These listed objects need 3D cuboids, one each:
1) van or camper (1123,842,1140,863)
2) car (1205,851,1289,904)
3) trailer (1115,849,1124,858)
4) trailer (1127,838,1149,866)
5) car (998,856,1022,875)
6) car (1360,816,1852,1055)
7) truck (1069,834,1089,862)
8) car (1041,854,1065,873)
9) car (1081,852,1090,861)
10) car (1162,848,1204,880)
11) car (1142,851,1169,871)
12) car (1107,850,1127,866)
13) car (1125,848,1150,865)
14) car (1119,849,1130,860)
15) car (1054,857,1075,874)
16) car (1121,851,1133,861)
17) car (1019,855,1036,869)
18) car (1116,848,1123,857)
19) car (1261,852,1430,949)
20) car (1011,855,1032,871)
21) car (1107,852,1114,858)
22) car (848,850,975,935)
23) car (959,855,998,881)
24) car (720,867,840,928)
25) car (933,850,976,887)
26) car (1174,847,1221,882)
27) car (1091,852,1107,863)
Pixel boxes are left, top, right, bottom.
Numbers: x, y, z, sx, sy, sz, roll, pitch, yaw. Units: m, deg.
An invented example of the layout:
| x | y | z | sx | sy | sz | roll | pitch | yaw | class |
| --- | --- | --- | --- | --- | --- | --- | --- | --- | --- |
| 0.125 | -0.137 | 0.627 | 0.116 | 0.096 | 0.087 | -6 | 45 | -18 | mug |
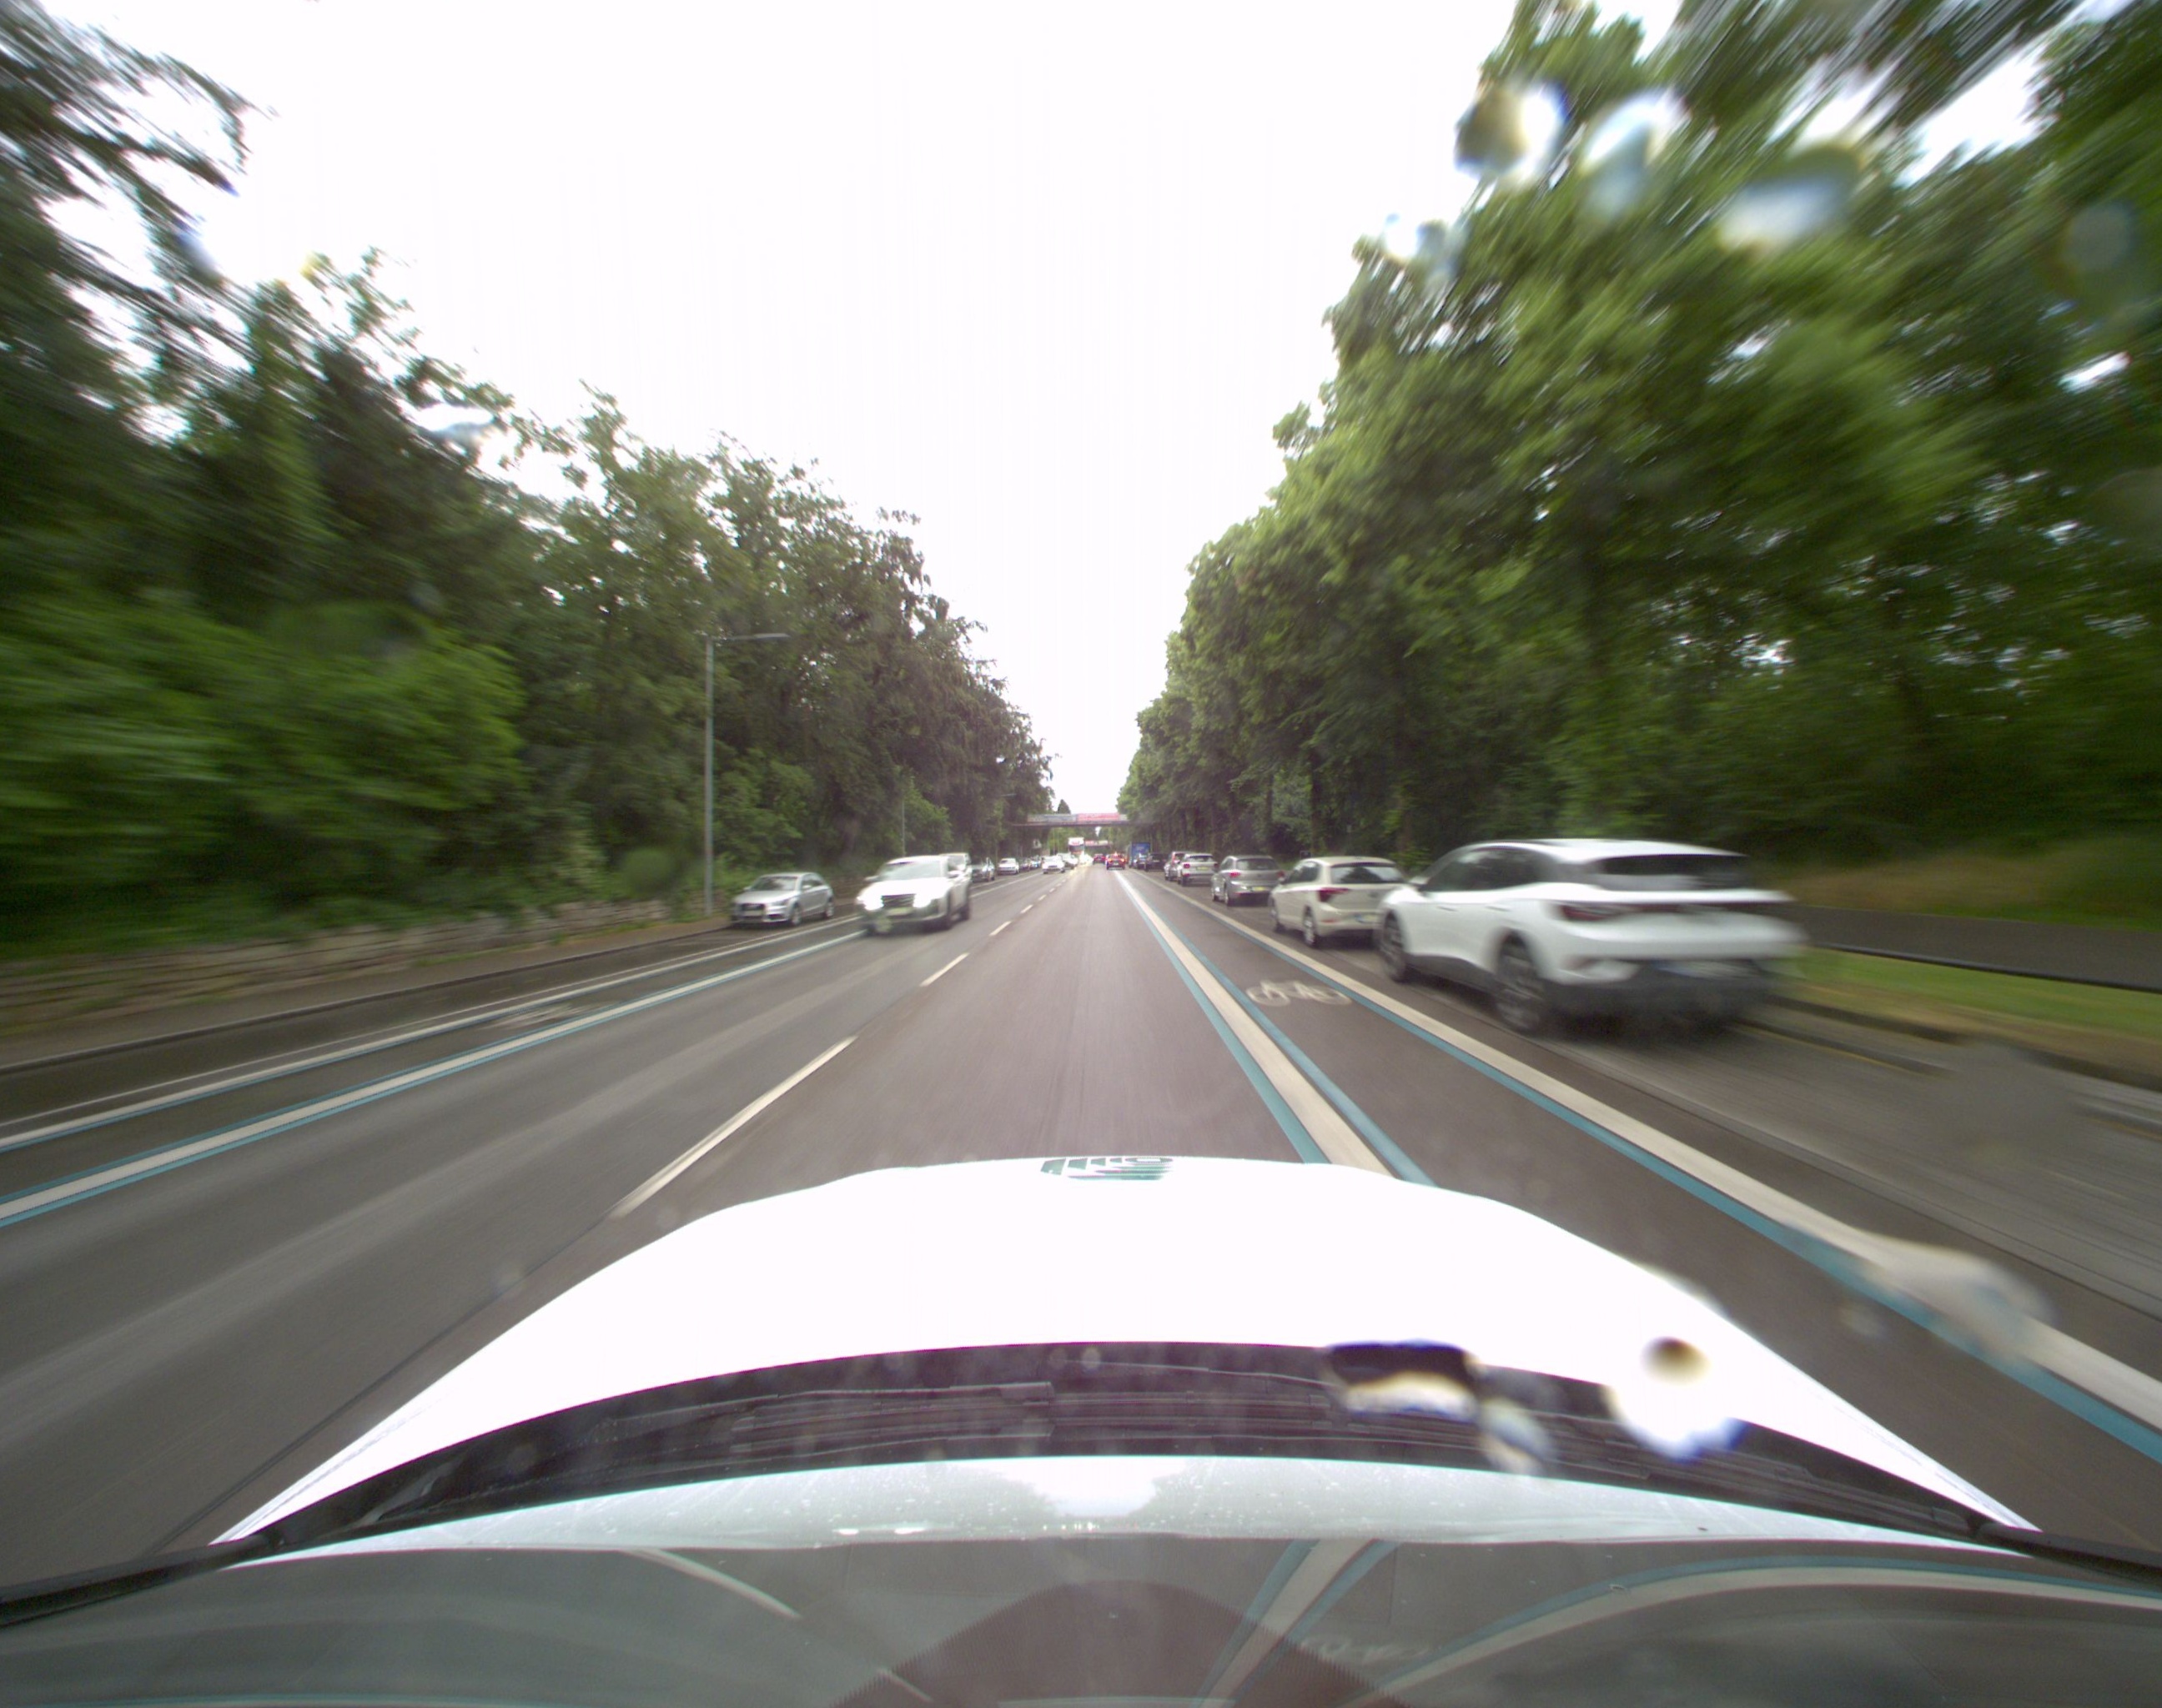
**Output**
| x | y | z | sx | sy | sz | roll | pitch | yaw | class |
| --- | --- | --- | --- | --- | --- | --- | --- | --- | --- |
| 6.960 | -0.233 | 113.188 | 2.035 | 2.729 | 6.900 | -1 | 0 | 1 | van or camper |
| 4.924 | 0.645 | 24.625 | 1.692 | 1.453 | 4.097 | -1 | 0 | 0 | car |
| 9.299 | -0.054 | 196.098 | 1.877 | 2.166 | 3.809 | -2 | 0 | 2 | trailer |
| 5.702 | -0.204 | 82.232 | 1.945 | 2.758 | 4.008 | -2 | 0 | 1 | trailer |
| -6.383 | 1.011 | 73.107 | 1.784 | 1.482 | 3.981 | -3 | 0 | -1 | car |
| 4.547 | 0.580 | 8.121 | 1.987 | 1.662 | 4.563 | -1 | 0 | 1 | car |
| -0.242 | -0.915 | 124.672 | 2.508 | 4.046 | 4.919 | -4 | 0 | 2 | truck |
| -2.330 | 0.753 | 69.392 | 1.770 | 1.466 | 4.063 | -4 | 0 | 0 | car |
| 0.976 | 0.530 | 171.365 | 1.828 | 1.666 | 4.181 | -4 | 0 | 1 | car |
| 5.458 | 0.495 | 44.107 | 1.747 | 1.597 | 4.741 | -1 | 0 | 1 | car |
| 6.149 | 0.549 | 67.498 | 1.819 | 1.503 | 4.571 | -2 | 0 | 1 | car |
| 3.426 | 0.356 | 77.830 | 1.811 | 1.508 | 4.141 | -1 | 0 | 2 | car |
| 5.258 | 0.220 | 76.427 | 1.894 | 1.547 | 4.753 | 0 | 0 | -1 | car |
| 8.194 | 0.060 | 152.923 | 1.919 | 2.022 | 4.665 | -1 | 0 | 1 | car |
| -1.709 | 1.217 | 85.140 | 1.954 | 1.617 | 4.467 | -3 | 0 | 1 | car |
| 7.548 | 0.339 | 134.324 | 1.750 | 1.589 | 4.500 | -1 | 0 | 1 | car |
| -6.193 | 0.893 | 94.455 | 1.682 | 1.546 | 4.233 | -2 | 0 | 0 | car |
| 10.111 | -0.428 | 212.970 | 1.882 | 2.127 | 4.047 | -2 | 0 | 2 | car |
| 4.450 | 0.699 | 14.341 | 1.692 | 1.453 | 3.945 | -1 | 0 | 0 | car |
| -6.086 | 0.931 | 83.562 | 1.826 | 1.477 | 4.038 | -2 | 0 | -2 | car |
| 7.678 | 0.248 | 213.533 | 1.725 | 1.583 | 4.037 | -2 | 0 | 1 | car |
| -3.760 | 0.777 | 18.931 | 1.947 | 1.639 | 4.444 | -2 | 0 | 0 | car |
| -7.009 | 0.947 | 56.227 | 2.003 | 1.605 | 4.780 | -2 | 1 | 0 | car |
| -8.213 | 1.145 | 22.636 | 1.683 | 1.405 | 4.030 | -1 | 1 | 2 | car |
| -7.312 | 0.792 | 47.503 | 1.969 | 2.005 | 5.013 | -1 | 0 | -3 | car |
| 5.432 | 0.461 | 38.411 | 1.691 | 1.513 | 4.471 | -1 | 0 | 2 | car |
| 2.468 | 0.472 | 112.705 | 2.134 | 1.492 | 4.497 | -1 | 0 | -1 | car |
